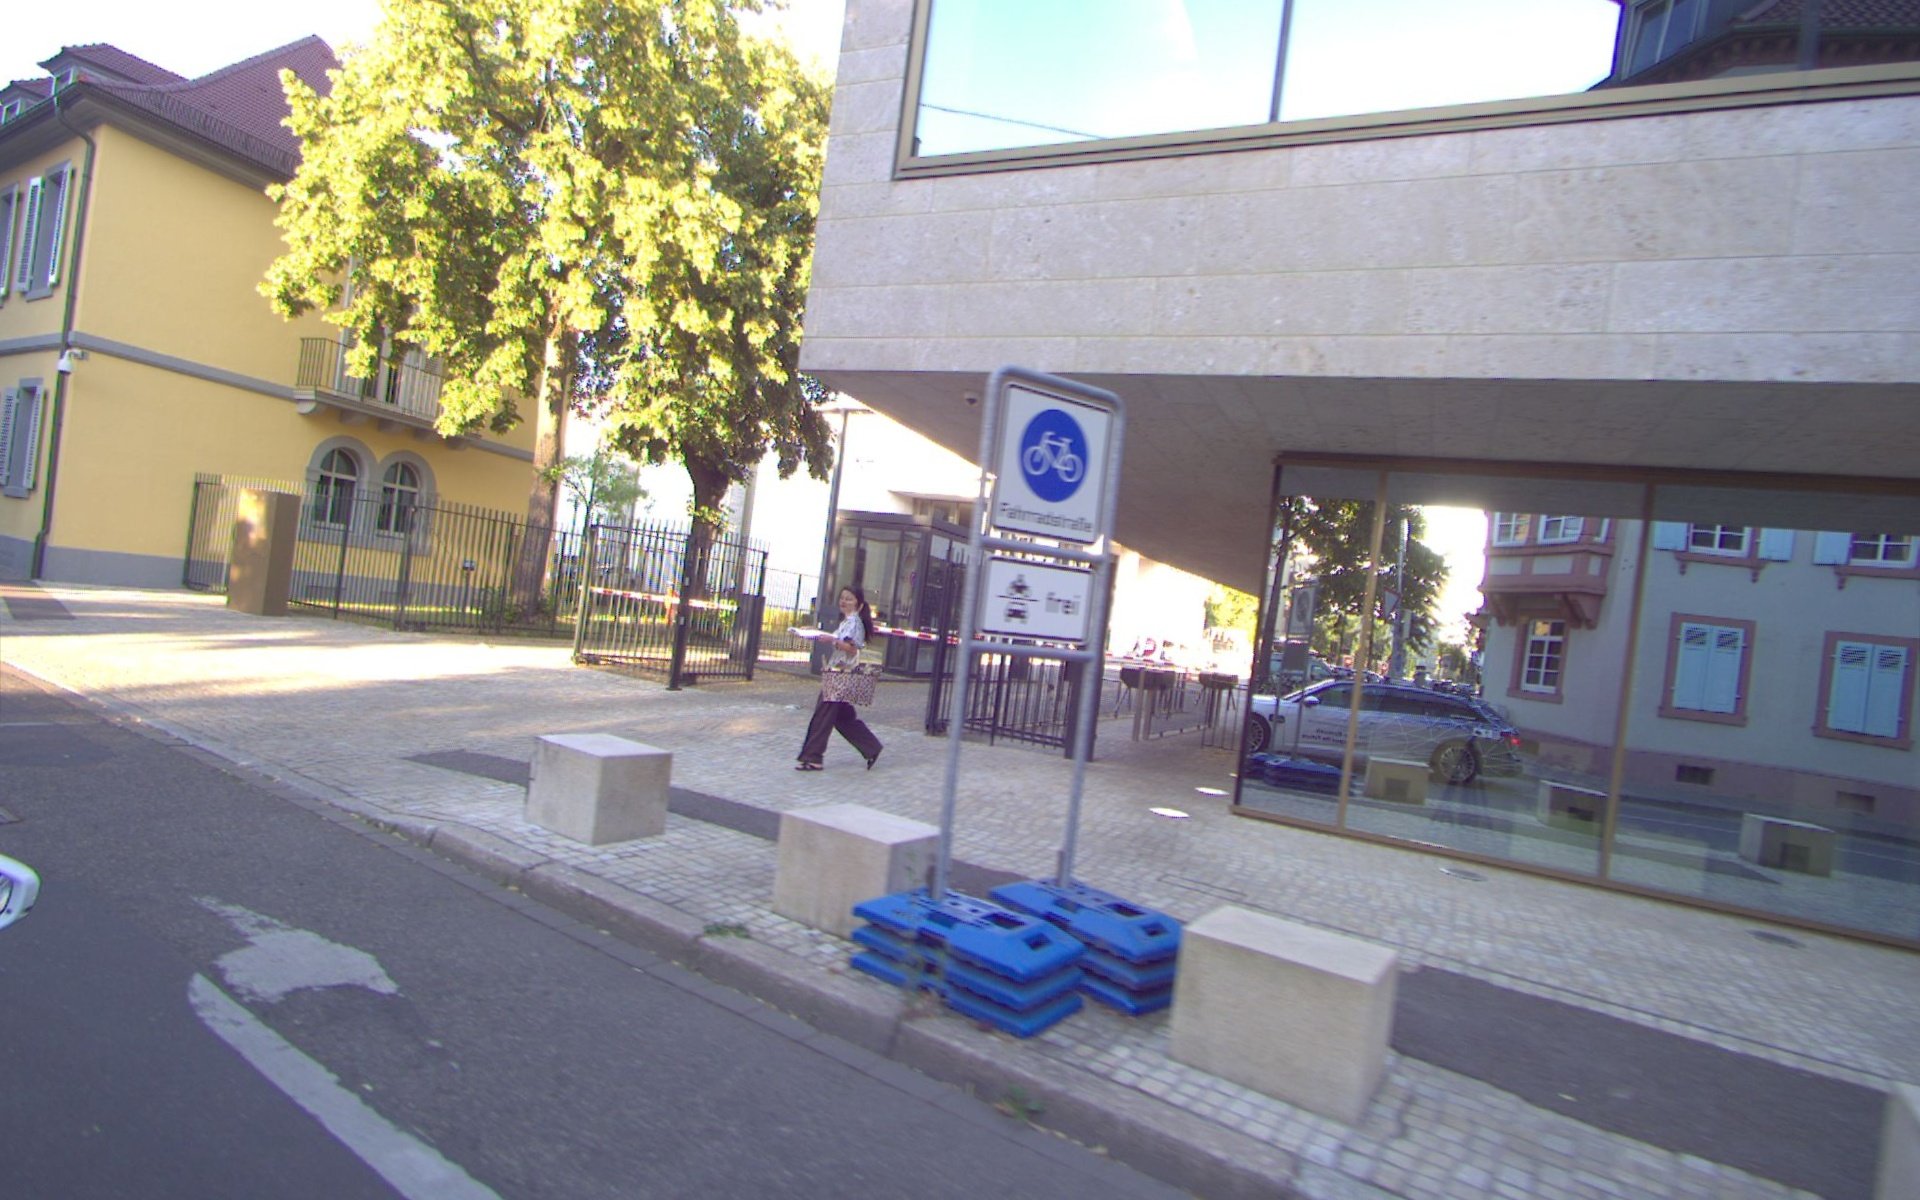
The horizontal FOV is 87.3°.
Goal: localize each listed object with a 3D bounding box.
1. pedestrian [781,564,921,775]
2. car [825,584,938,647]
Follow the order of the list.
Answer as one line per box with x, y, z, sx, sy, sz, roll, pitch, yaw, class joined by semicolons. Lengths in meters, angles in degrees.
-0.948;0.585;8.632;0.946;1.680;0.637;5;1;-19;pedestrian
-2.549;0.555;33.514;1.681;1.757;4.058;5;-1;29;car
